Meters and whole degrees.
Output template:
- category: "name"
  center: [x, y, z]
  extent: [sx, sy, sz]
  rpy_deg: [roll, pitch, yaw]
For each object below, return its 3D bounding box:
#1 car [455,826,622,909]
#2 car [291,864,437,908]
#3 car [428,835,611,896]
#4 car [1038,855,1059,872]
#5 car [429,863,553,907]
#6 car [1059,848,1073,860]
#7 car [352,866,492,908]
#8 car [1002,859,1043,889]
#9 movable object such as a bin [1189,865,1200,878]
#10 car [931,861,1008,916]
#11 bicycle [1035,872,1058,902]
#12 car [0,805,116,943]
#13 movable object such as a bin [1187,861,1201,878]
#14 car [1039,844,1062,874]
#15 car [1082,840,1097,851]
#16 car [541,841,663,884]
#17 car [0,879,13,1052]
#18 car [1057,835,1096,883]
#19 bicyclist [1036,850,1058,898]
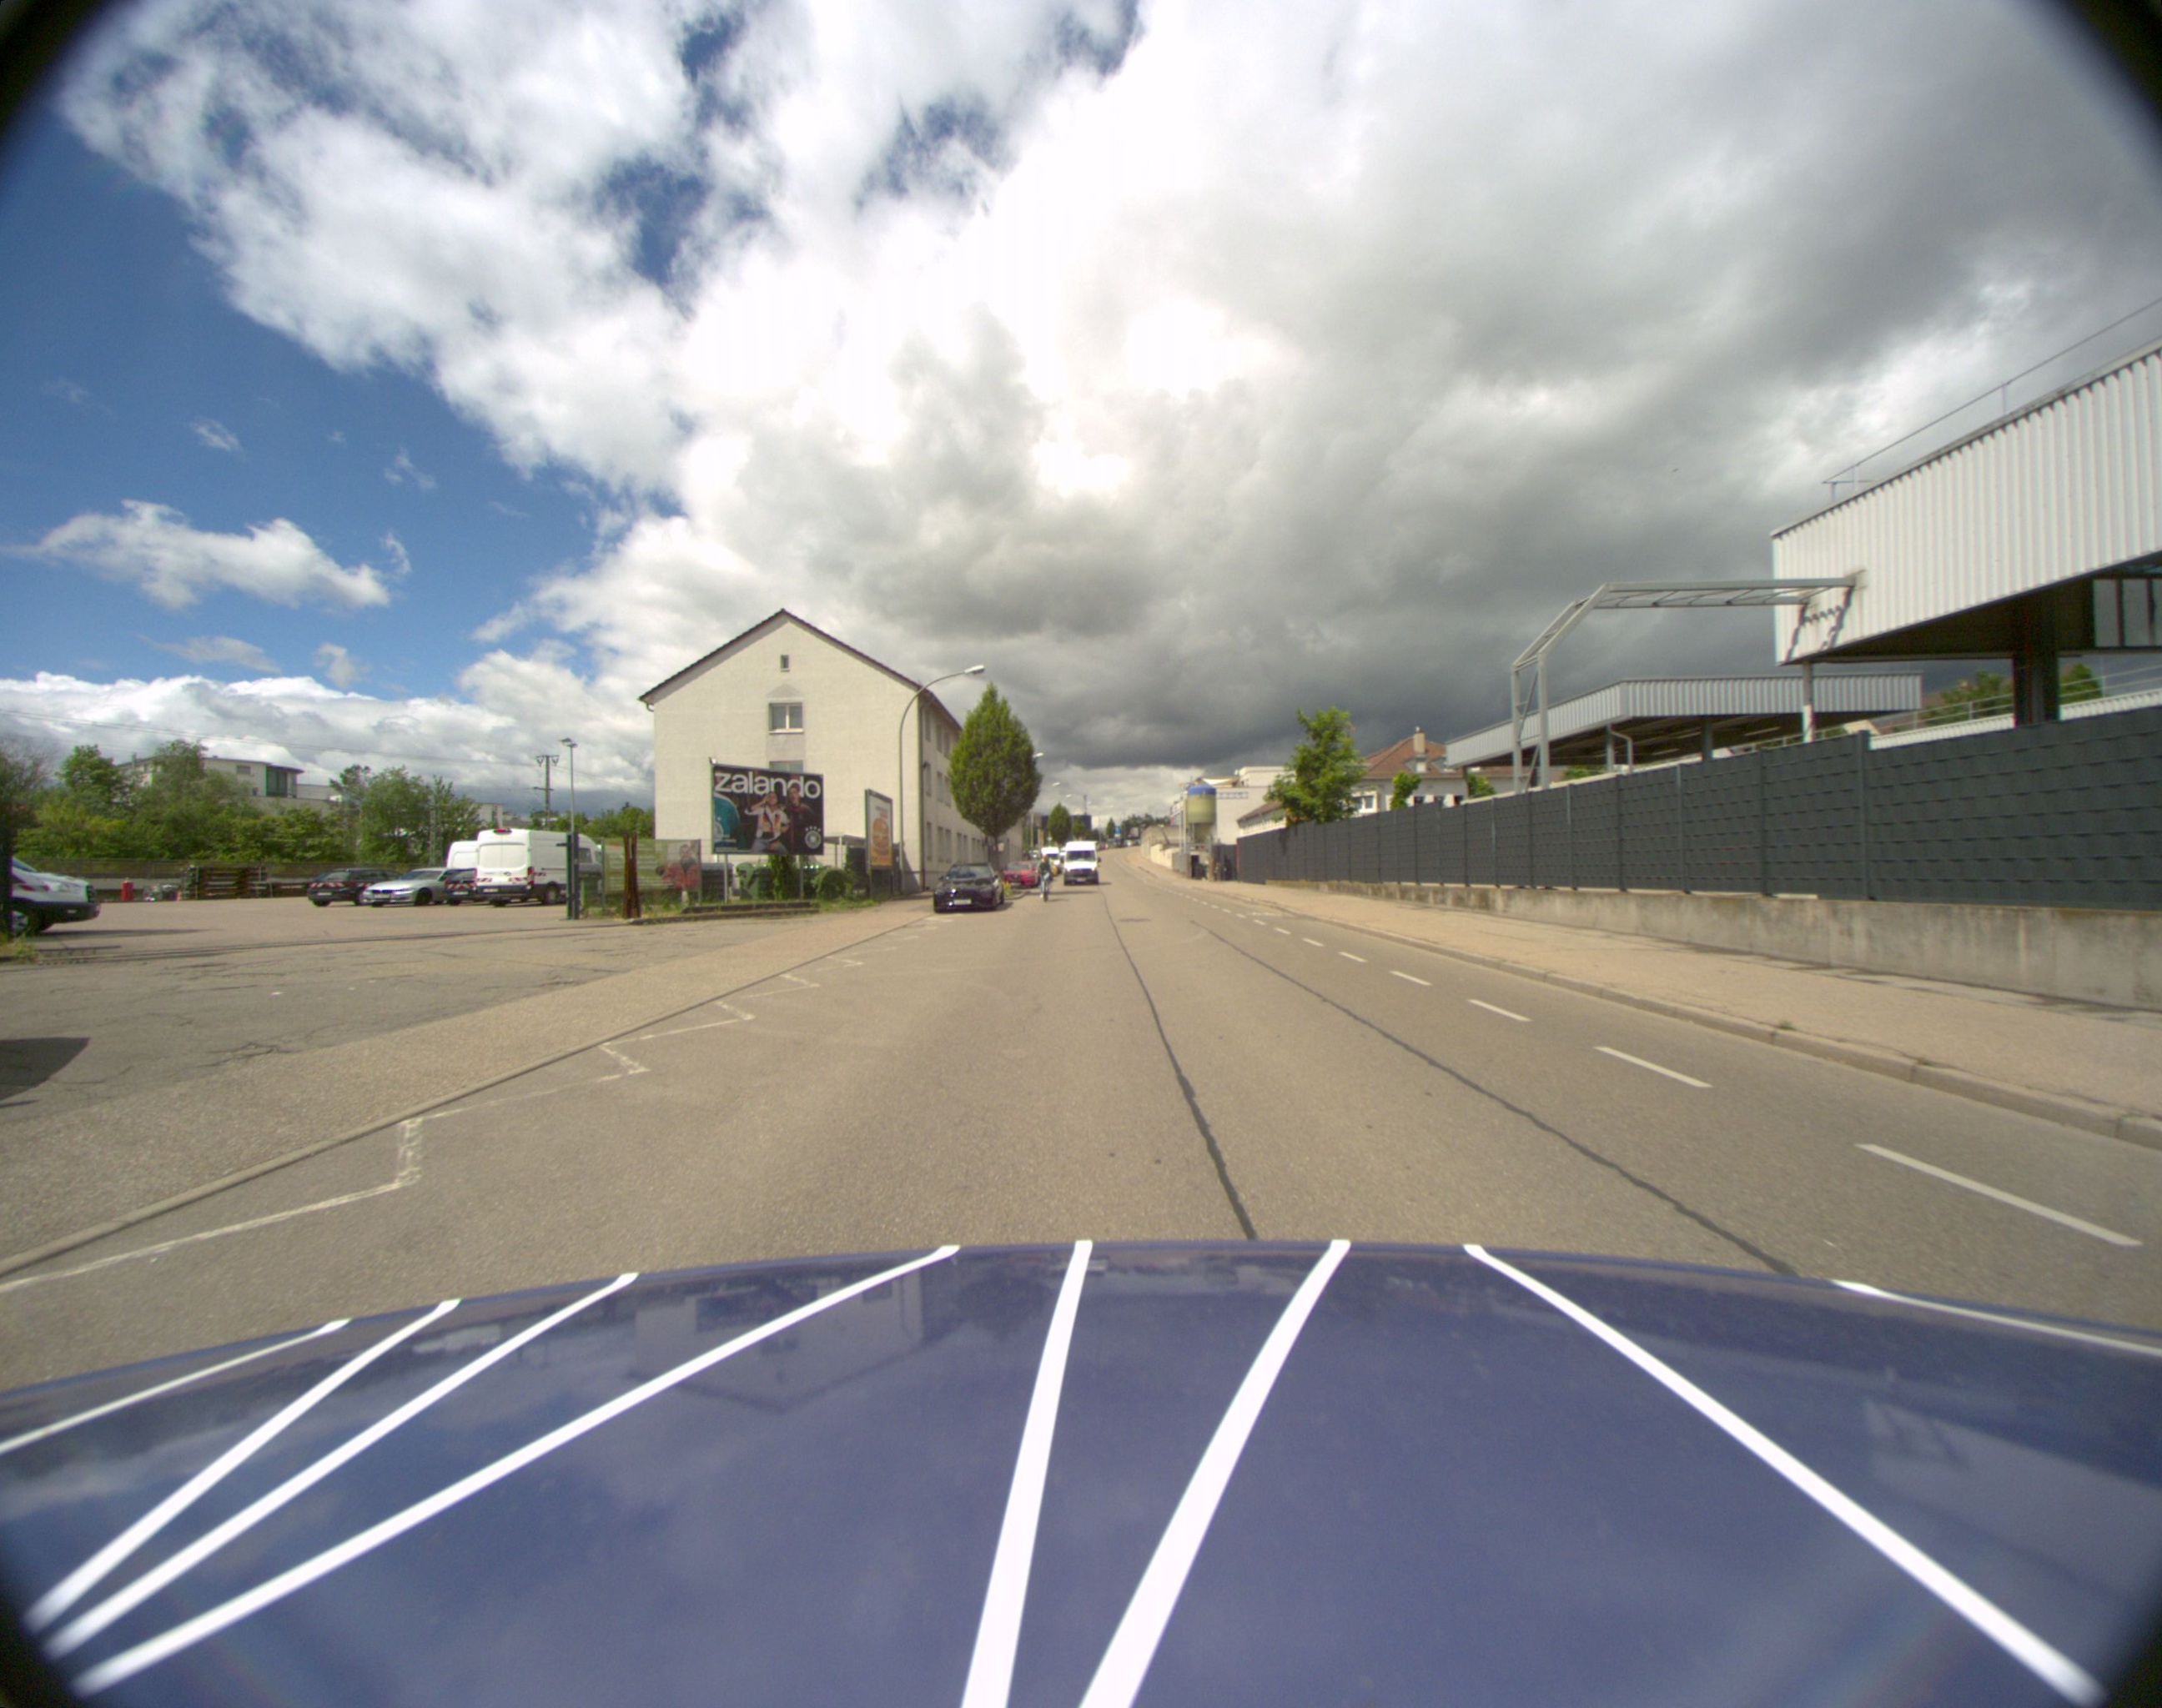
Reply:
- category: "car"
  center: [-20.005, 0.372, 28.454]
  extent: [2.282, 2.752, 5.453]
  rpy_deg: [-1, 2, -1]
- category: "car"
  center: [-27.793, 1.192, 29.650]
  extent: [1.812, 1.355, 3.999]
  rpy_deg: [-1, 2, 1]
- category: "car"
  center: [-24.876, 0.470, 33.878]
  extent: [6.180, 2.438, 2.273]
  rpy_deg: [-2, 2, -4]
- category: "car"
  center: [-2.883, 0.859, 68.669]
  extent: [1.596, 1.439, 3.790]
  rpy_deg: [-1, 1, 1]
- category: "car"
  center: [-22.446, 1.131, 29.119]
  extent: [1.629, 1.383, 3.867]
  rpy_deg: [-1, 2, 1]
- category: "car"
  center: [-2.180, -0.047, 112.188]
  extent: [1.846, 1.556, 4.465]
  rpy_deg: [0, 2, 2]
- category: "car"
  center: [-24.970, 1.207, 29.011]
  extent: [1.751, 1.280, 3.999]
  rpy_deg: [-1, 2, 1]
- category: "car"
  center: [-3.073, 1.008, 40.366]
  extent: [1.739, 1.464, 4.262]
  rpy_deg: [-2, -1, 1]
- category: "movable object such as a bin"
  center: [9.289, 1.422, 62.141]
  extent: [0.874, 1.044, 0.741]
  rpy_deg: [1, 0, 4]
- category: "car"
  center: [-3.435, 1.000, 24.250]
  extent: [1.796, 1.457, 4.707]
  rpy_deg: [-1, 1, -1]
- category: "bicycle"
  center: [-1.204, 1.160, 26.901]
  extent: [0.742, 0.969, 1.732]
  rpy_deg: [-1, 1, -2]
- category: "car"
  center: [-24.088, 0.421, 15.039]
  extent: [2.060, 2.828, 5.988]
  rpy_deg: [1, 1, 43]
- category: "movable object such as a bin"
  center: [9.353, 1.255, 63.114]
  extent: [0.993, 1.385, 1.216]
  rpy_deg: [1, 0, 2]
- category: "car"
  center: [-2.936, 0.418, 75.393]
  extent: [2.038, 2.627, 7.279]
  rpy_deg: [-1, 2, -1]
- category: "car"
  center: [1.845, -1.767, 155.451]
  extent: [1.978, 1.993, 5.550]
  rpy_deg: [-1, 2, 12]
- category: "car"
  center: [-24.714, 0.401, 39.339]
  extent: [4.964, 2.024, 1.999]
  rpy_deg: [-1, 2, -1]
- category: "car"
  center: [-8.617, 0.958, 4.402]
  extent: [1.729, 1.454, 4.063]
  rpy_deg: [2, 0, -38]
- category: "car"
  center: [-0.210, 0.206, 45.597]
  extent: [2.082, 2.576, 6.061]
  rpy_deg: [-1, 2, 2]
- category: "bicyclist"
  center: [-1.198, 0.694, 26.895]
  extent: [0.741, 1.617, 0.731]
  rpy_deg: [-2, 2, -2]
